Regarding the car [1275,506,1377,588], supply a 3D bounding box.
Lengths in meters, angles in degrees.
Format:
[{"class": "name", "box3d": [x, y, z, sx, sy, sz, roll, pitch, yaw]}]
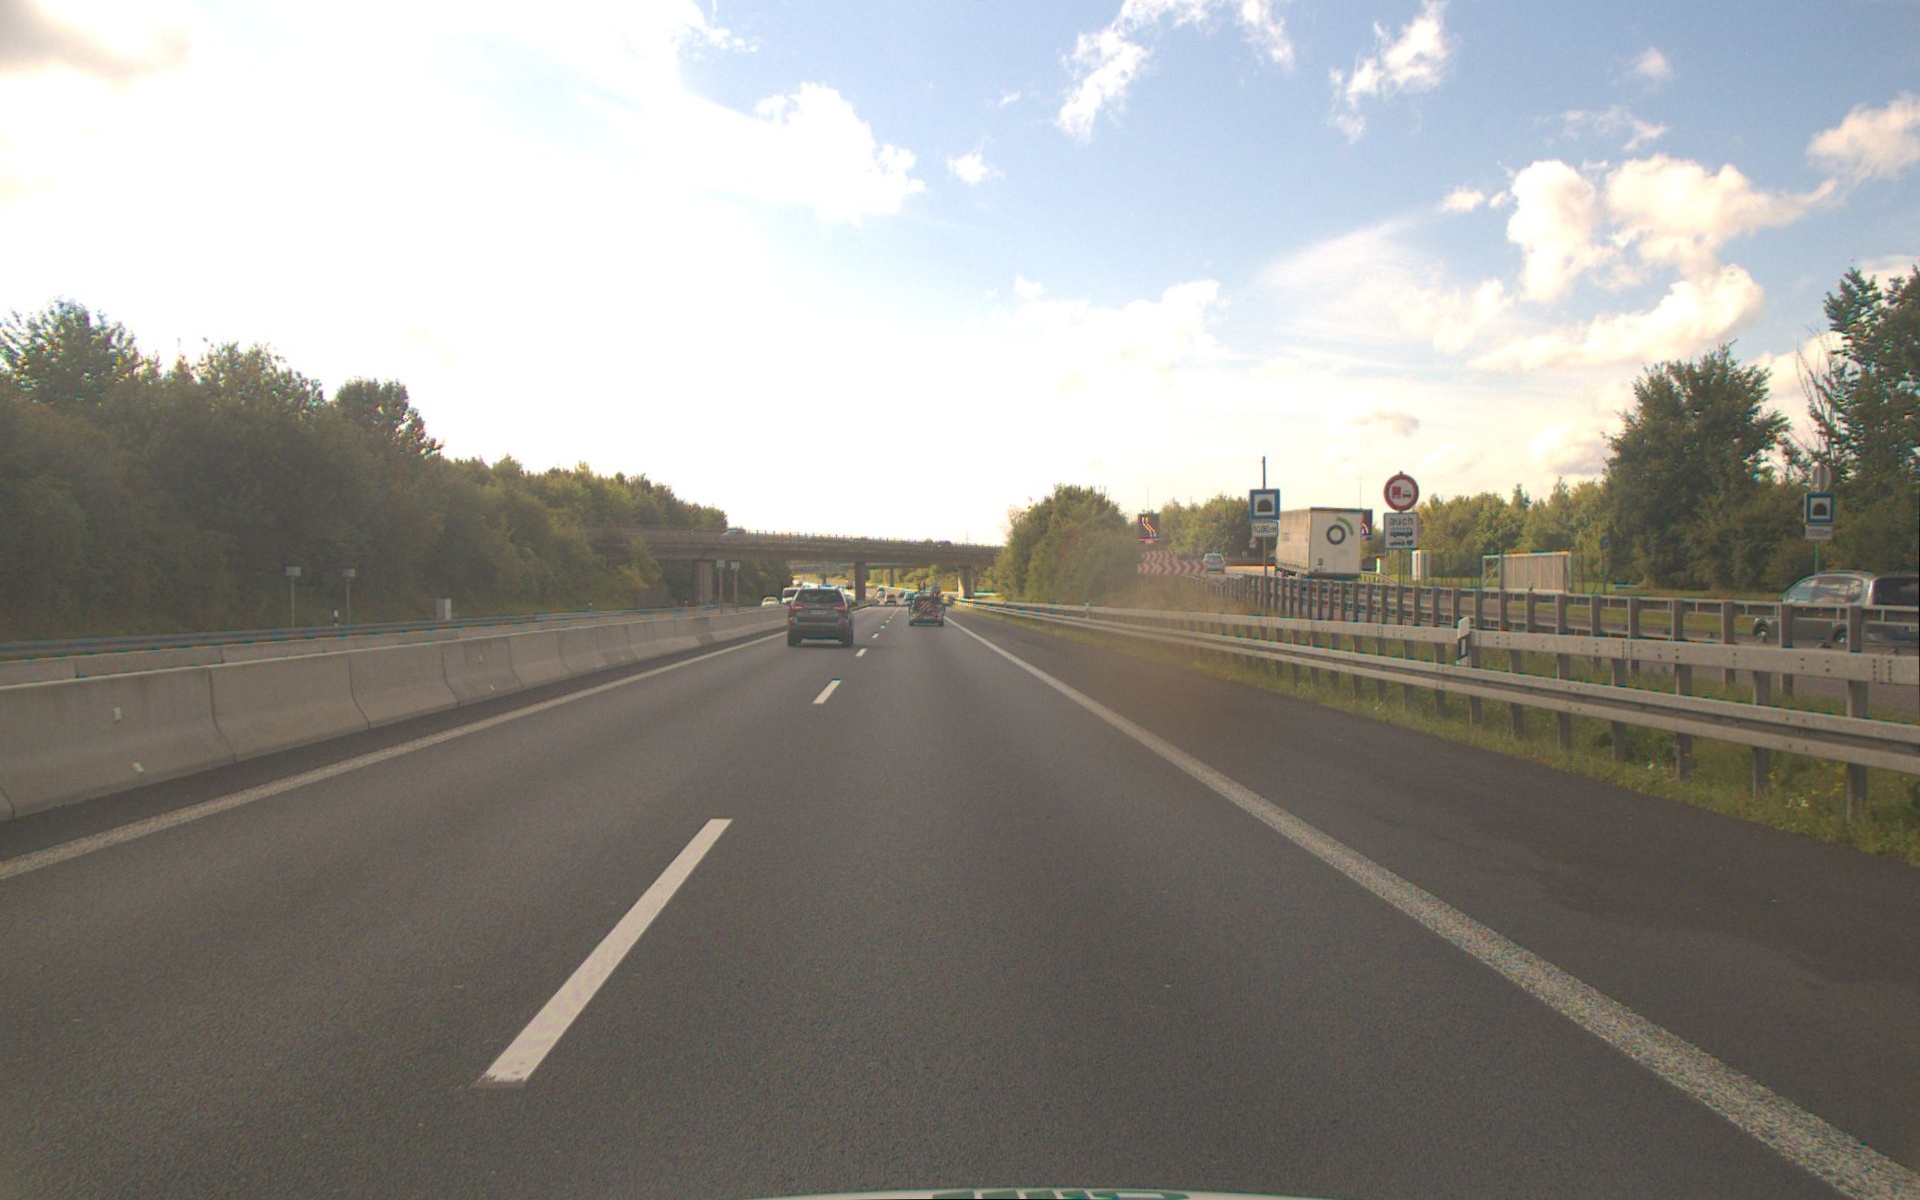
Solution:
[{"class": "car", "box3d": [18.067, -2.548, 82.204, 3.502, 3.741, 7.550, -2, 0, 2]}]

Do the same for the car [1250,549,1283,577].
[{"class": "car", "box3d": [23.964, -2.844, 129.309, 1.952, 2.049, 4.001, -2, 0, 2]}]

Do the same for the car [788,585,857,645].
[{"class": "car", "box3d": [-4.014, 0.411, 48.830, 1.714, 1.659, 3.608, -2, 0, 0]}]

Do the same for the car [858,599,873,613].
[{"class": "car", "box3d": [-13.471, 0.841, 236.008, 1.953, 2.049, 3.998, -2, 0, -2]}]

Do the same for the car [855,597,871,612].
[{"class": "car", "box3d": [-13.230, 0.588, 225.195, 1.953, 2.049, 3.998, -2, 0, -2]}]

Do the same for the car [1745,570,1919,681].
[{"class": "car", "box3d": [15.457, 0.390, 28.405, 1.953, 1.747, 3.999, -2, 0, -2]}]

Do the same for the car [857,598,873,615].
[{"class": "car", "box3d": [-11.826, 0.859, 206.106, 1.953, 2.049, 3.998, -2, 0, -2]}]

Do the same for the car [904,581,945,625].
[{"class": "car", "box3d": [-1.795, 0.130, 83.517, 1.953, 2.117, 3.999, -2, 0, -2]}]

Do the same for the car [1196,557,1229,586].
[{"class": "car", "box3d": [18.796, -2.114, 123.183, 1.952, 2.049, 4.001, -2, 0, 2]}]

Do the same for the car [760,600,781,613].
[{"class": "car", "box3d": [-21.208, 0.705, 185.529, 1.953, 1.461, 4.723, -2, 0, -2]}]
